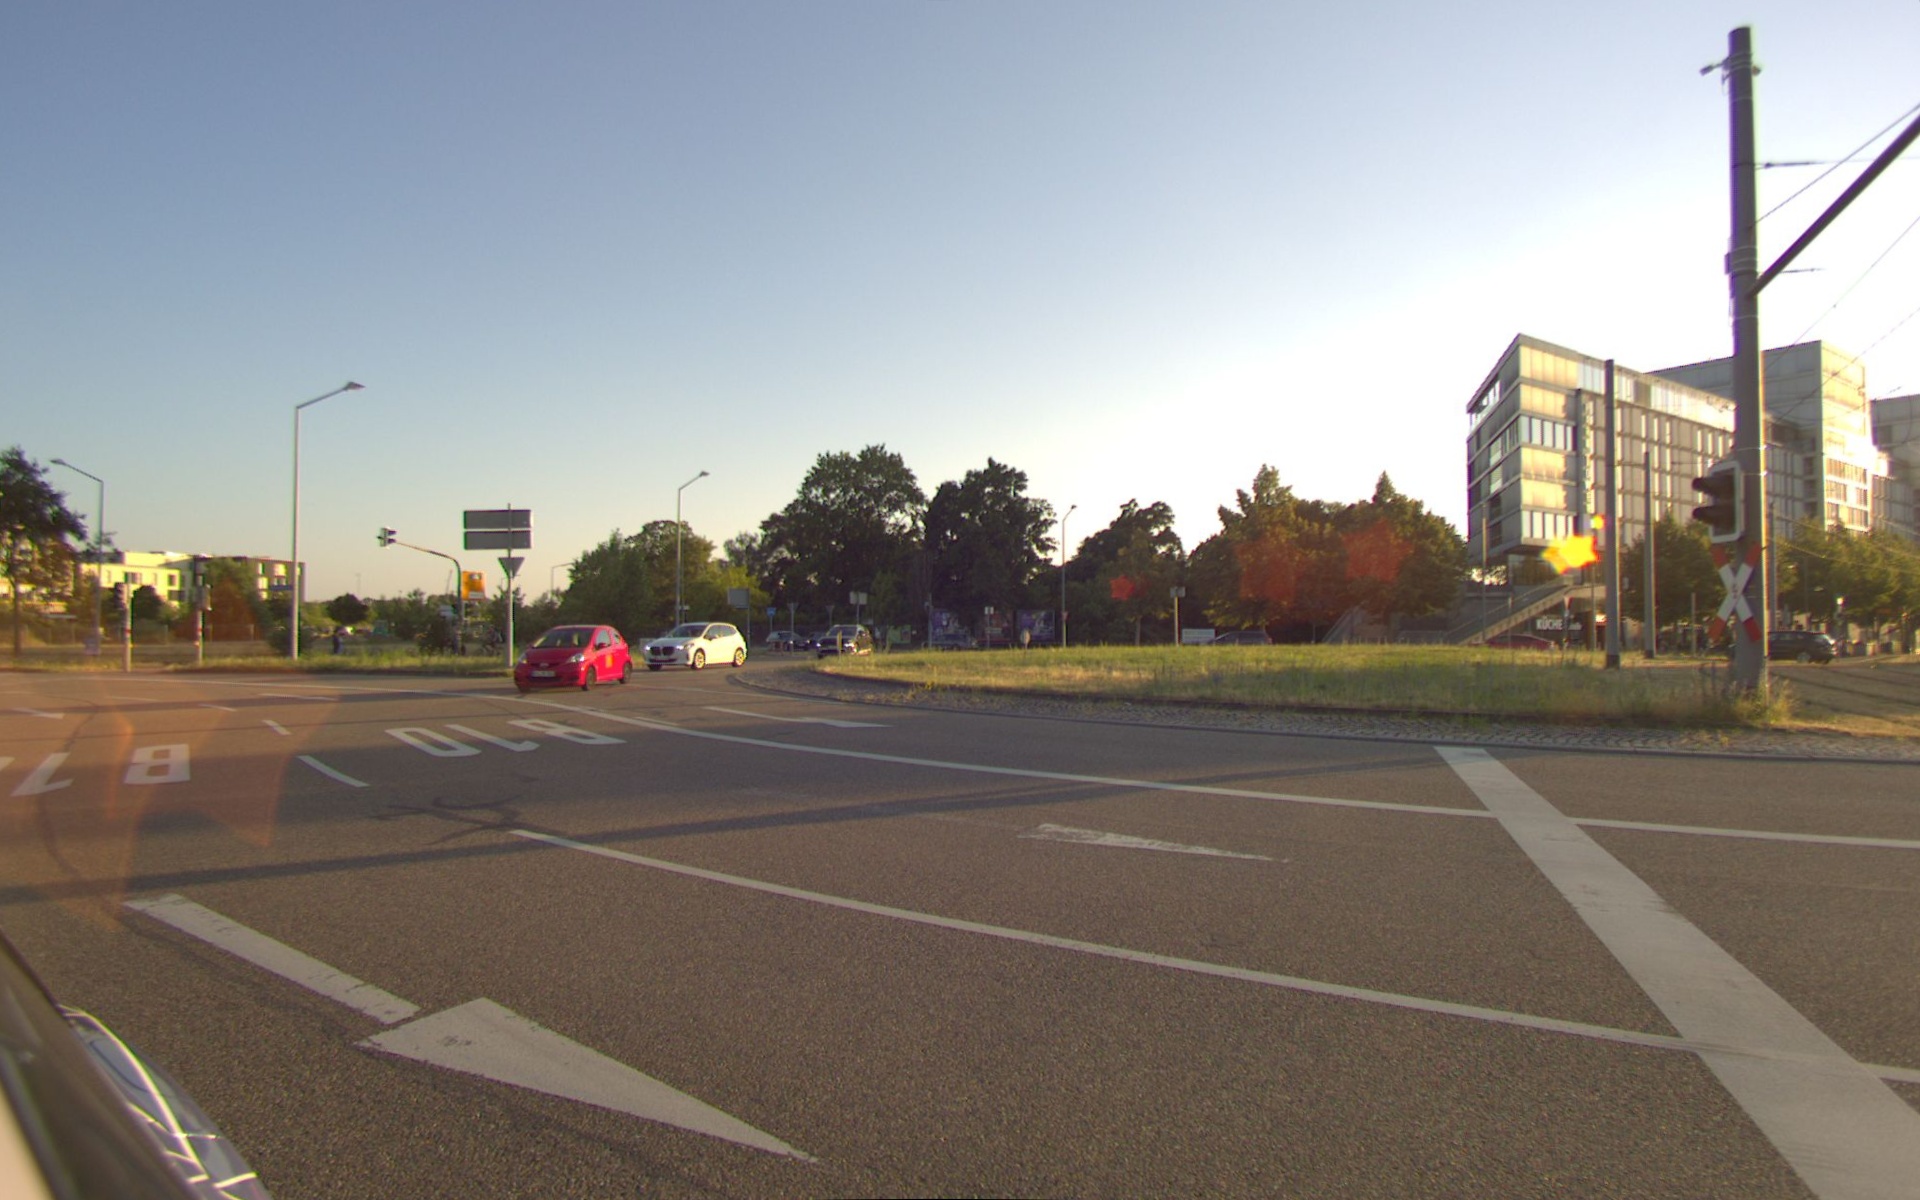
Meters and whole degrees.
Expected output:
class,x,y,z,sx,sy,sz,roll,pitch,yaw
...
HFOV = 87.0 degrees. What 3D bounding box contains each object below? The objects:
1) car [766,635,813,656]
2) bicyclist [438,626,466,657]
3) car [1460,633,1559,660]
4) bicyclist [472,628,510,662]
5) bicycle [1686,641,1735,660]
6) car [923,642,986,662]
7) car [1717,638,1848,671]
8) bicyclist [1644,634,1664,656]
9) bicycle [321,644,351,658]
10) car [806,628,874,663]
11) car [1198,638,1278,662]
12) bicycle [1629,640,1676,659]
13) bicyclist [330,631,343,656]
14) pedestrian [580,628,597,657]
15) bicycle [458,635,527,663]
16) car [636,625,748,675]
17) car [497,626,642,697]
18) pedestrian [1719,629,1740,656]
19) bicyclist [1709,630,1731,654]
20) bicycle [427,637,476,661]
class,x,y,z,sx,sy,sz,roll,pitch,yaw
car,-12.814,3.364,75.988,1.811,1.512,4.265,1,-2,-34
bicyclist,-26.674,2.170,53.151,0.806,1.645,0.992,-1,-2,24
car,30.554,2.569,56.341,4.589,1.443,1.919,-2,-3,39
bicyclist,-24.750,2.341,53.394,1.116,1.762,1.407,0,-2,22
bicycle,47.893,3.197,64.591,2.410,1.176,0.743,-2,-3,44
car,-0.438,3.810,74.597,4.393,1.443,1.921,-2,-3,35
car,38.593,2.519,47.598,1.911,1.443,4.334,1,-2,-24
bicyclist,44.861,2.885,65.403,0.743,1.403,0.880,2,-3,-43
bicycle,-35.047,2.872,56.840,1.398,0.797,0.474,0,-2,-1
car,-5.691,2.148,48.361,1.812,1.570,4.193,-1,-2,15
car,16.641,2.992,60.773,4.347,1.443,1.942,-1,-2,5
bicycle,44.776,3.210,65.442,0.743,1.176,2.412,2,-3,-42
bicyclist,-35.033,2.447,56.848,0.441,1.408,0.474,0,-2,-1
pedestrian,-22.004,2.518,59.945,0.875,1.714,0.723,0,-2,-17
bicycle,-24.591,2.551,53.390,1.116,1.406,3.513,0,-2,21
car,-8.917,1.644,33.991,1.745,1.570,4.192,-1,-2,16
car,-8.871,1.347,23.375,1.671,1.432,4.209,0,-1,1
pedestrian,49.503,2.735,65.109,0.782,1.720,0.890,2,-3,-40
bicyclist,48.585,2.667,64.701,0.979,1.537,0.744,-2,-3,44
bicycle,-26.681,2.564,53.166,0.806,1.188,2.310,-1,-2,24
